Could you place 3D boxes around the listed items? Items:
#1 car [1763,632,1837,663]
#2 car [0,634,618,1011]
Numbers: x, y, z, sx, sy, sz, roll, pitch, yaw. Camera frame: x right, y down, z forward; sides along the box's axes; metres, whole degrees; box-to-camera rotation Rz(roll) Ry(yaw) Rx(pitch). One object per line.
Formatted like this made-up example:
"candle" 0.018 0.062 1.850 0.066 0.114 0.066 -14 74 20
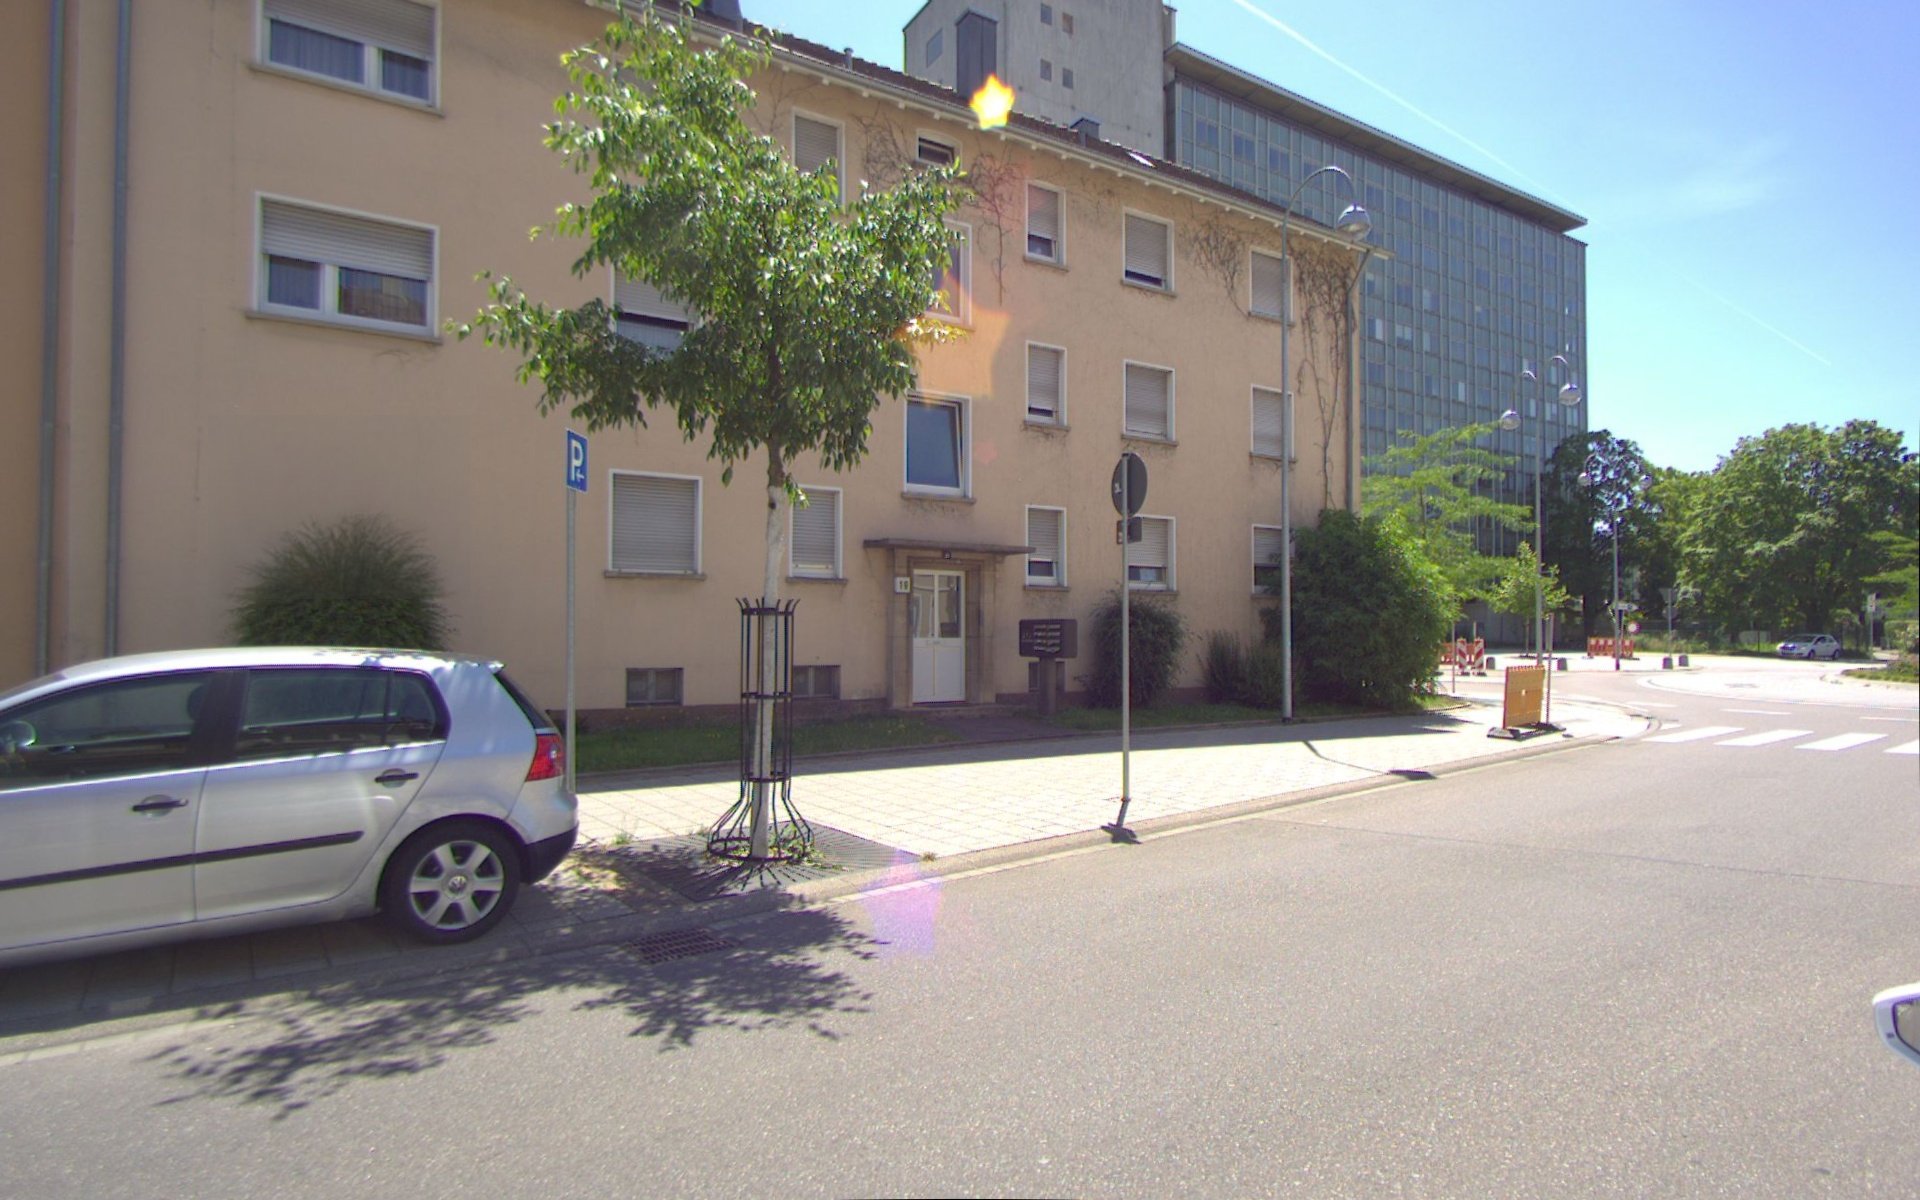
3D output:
"car" 49.510 2.776 59.200 3.865 1.618 1.781 4 -3 -23
"car" -4.091 0.933 5.061 4.051 1.439 1.979 3 -1 -37
